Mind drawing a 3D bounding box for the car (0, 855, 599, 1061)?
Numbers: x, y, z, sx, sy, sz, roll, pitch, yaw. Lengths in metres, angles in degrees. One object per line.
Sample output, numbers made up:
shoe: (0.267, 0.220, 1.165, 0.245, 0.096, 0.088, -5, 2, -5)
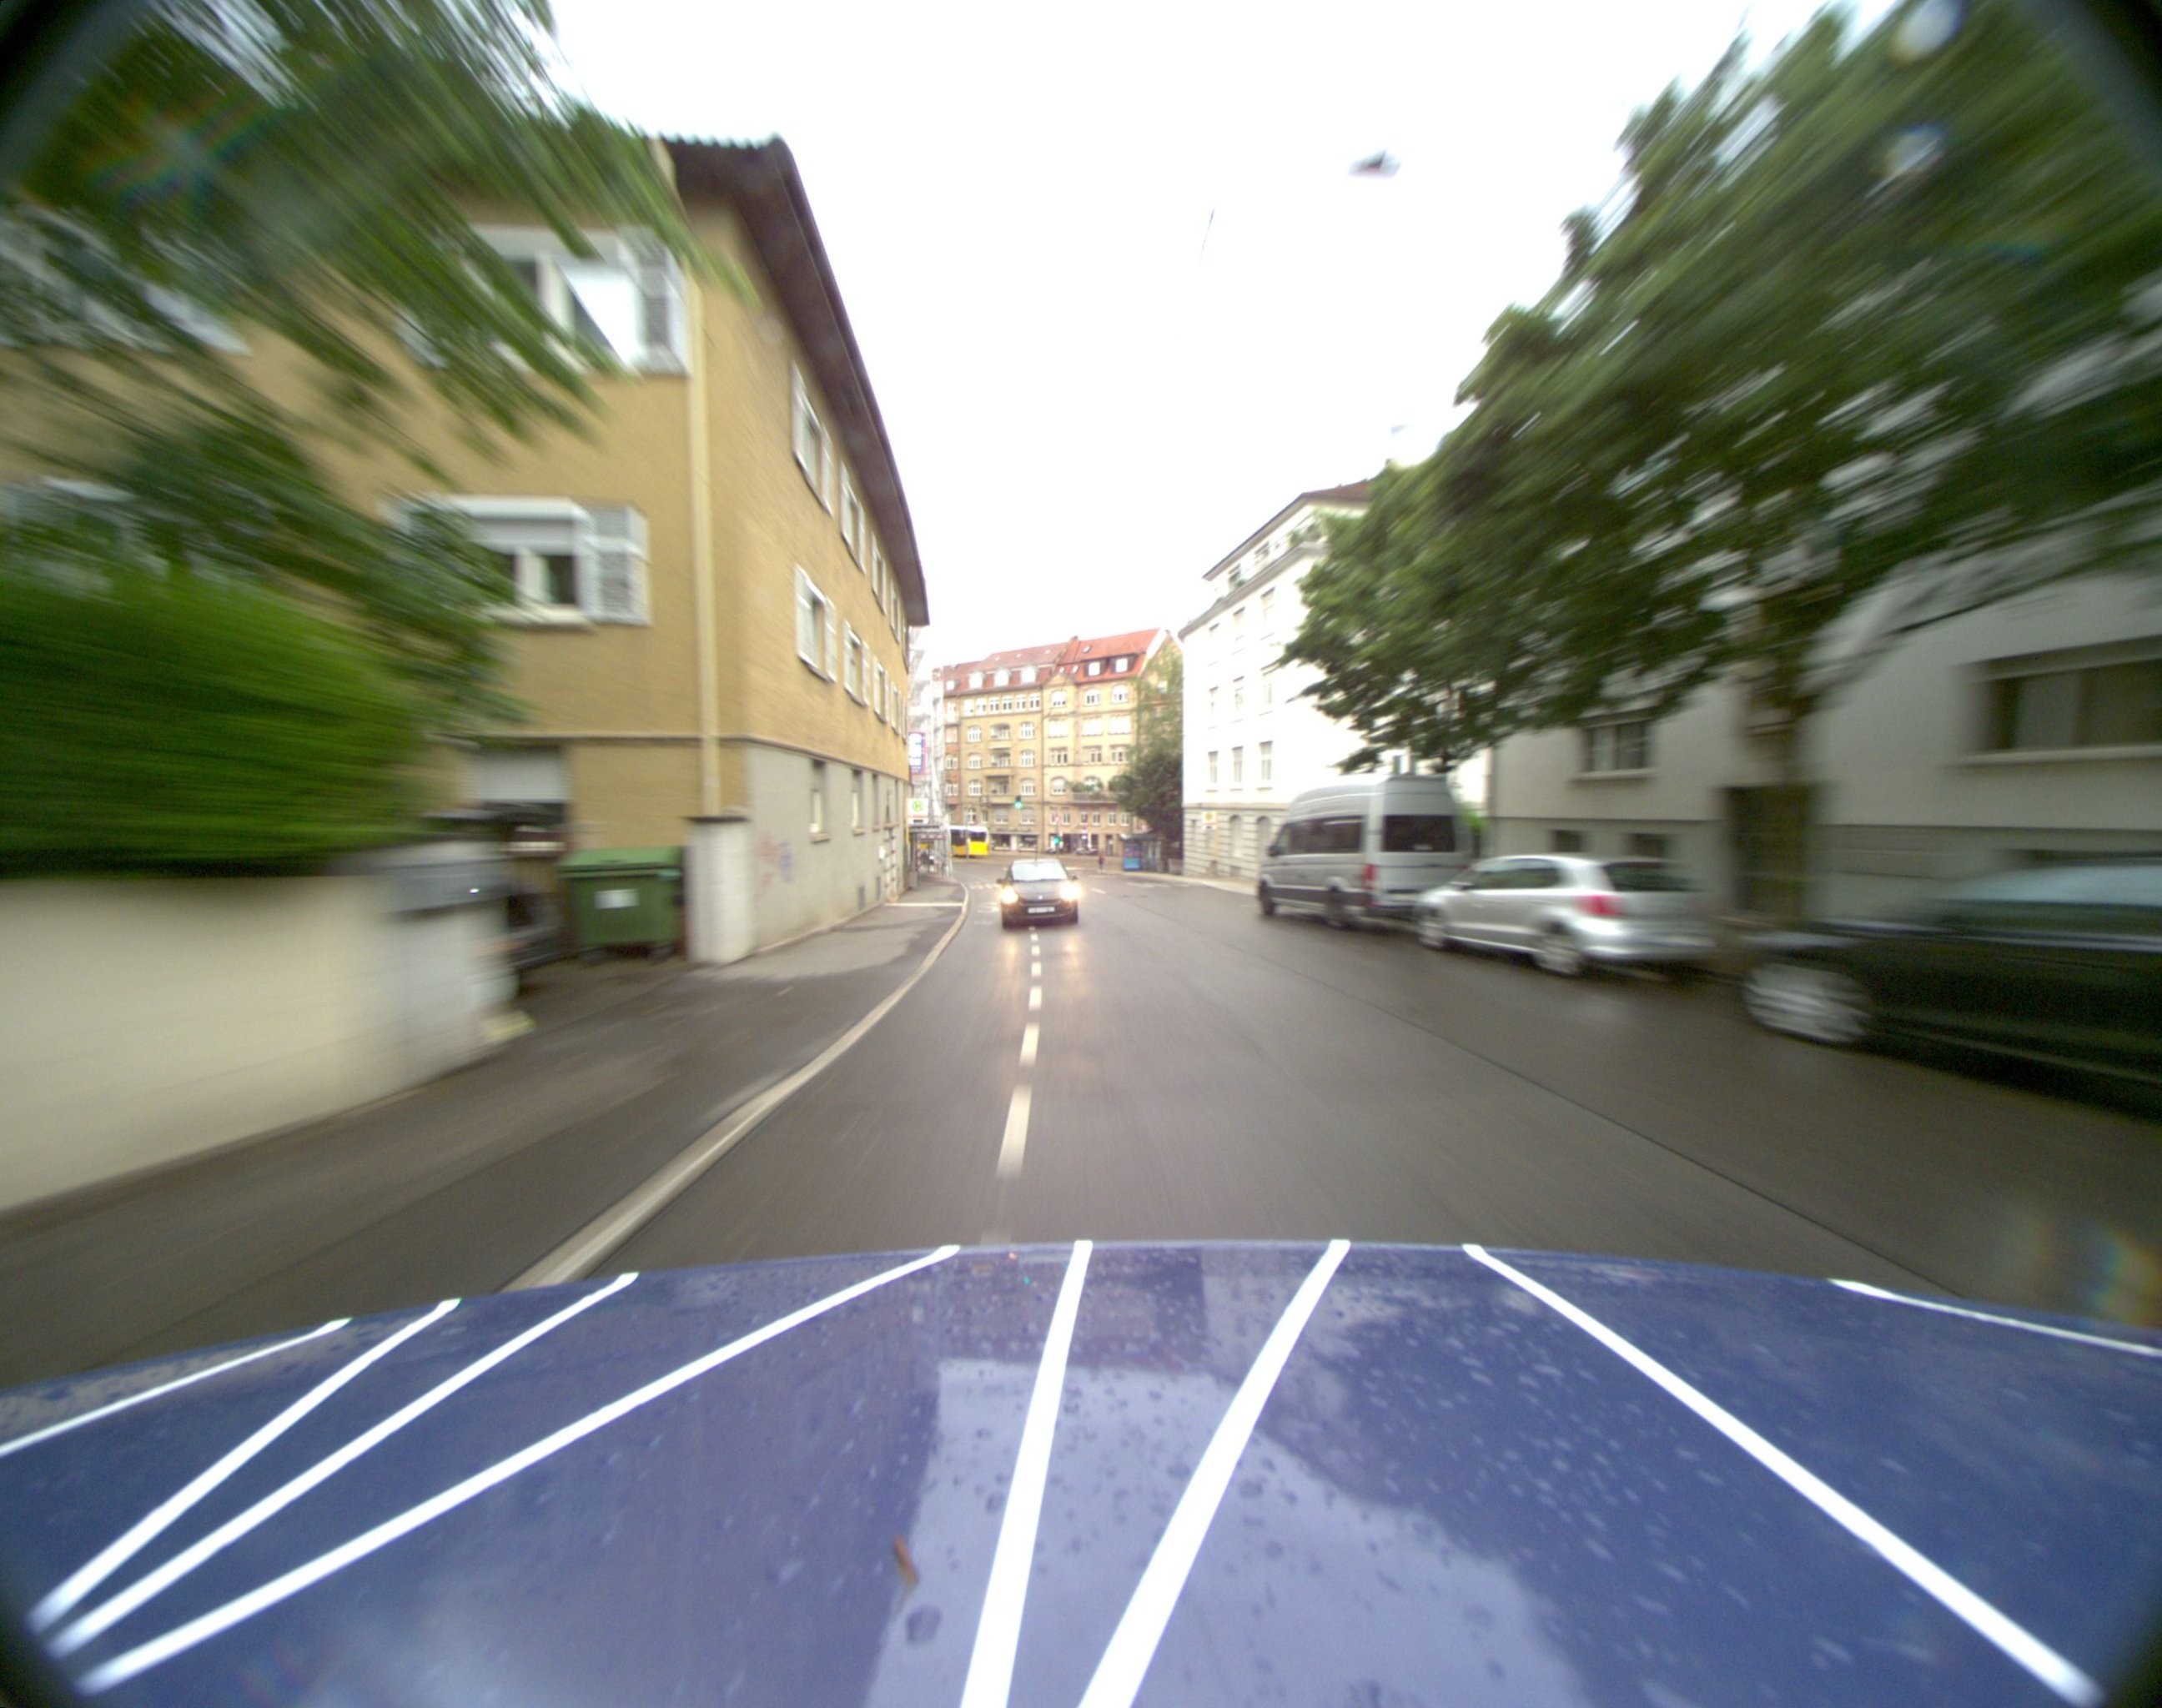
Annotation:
car: (-7.705, 0.934, 7.672, 4.300, 1.567, 1.999, -2, 3, 1)

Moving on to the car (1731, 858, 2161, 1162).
car: (6.293, 0.805, 3.976, 1.792, 1.484, 4.497, 1, 1, -2)

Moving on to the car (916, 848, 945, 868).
car: (-14.011, 0.324, 70.547, 1.899, 1.686, 3.993, -4, 1, -21)

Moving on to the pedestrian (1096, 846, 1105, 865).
pedestrian: (1.679, 0.111, 64.528, 0.651, 1.571, 0.805, -1, 1, -2)

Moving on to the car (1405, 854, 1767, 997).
car: (6.041, 0.718, 9.772, 1.591, 1.401, 4.043, 0, 1, -8)

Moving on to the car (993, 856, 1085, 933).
car: (-1.095, 0.843, 17.862, 1.699, 1.456, 3.996, -4, 1, -8)

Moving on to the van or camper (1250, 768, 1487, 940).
van or camper: (5.461, -0.006, 15.562, 2.073, 2.843, 5.743, 0, 0, -7)

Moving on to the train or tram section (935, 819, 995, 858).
train or tram section: (-13.243, -1.844, 85.859, 3.093, 3.982, 9.779, -2, 4, -32)

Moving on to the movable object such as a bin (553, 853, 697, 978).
movable object such as a bin: (-5.713, 0.740, 9.592, 1.254, 1.447, 0.826, -3, 1, -4)
